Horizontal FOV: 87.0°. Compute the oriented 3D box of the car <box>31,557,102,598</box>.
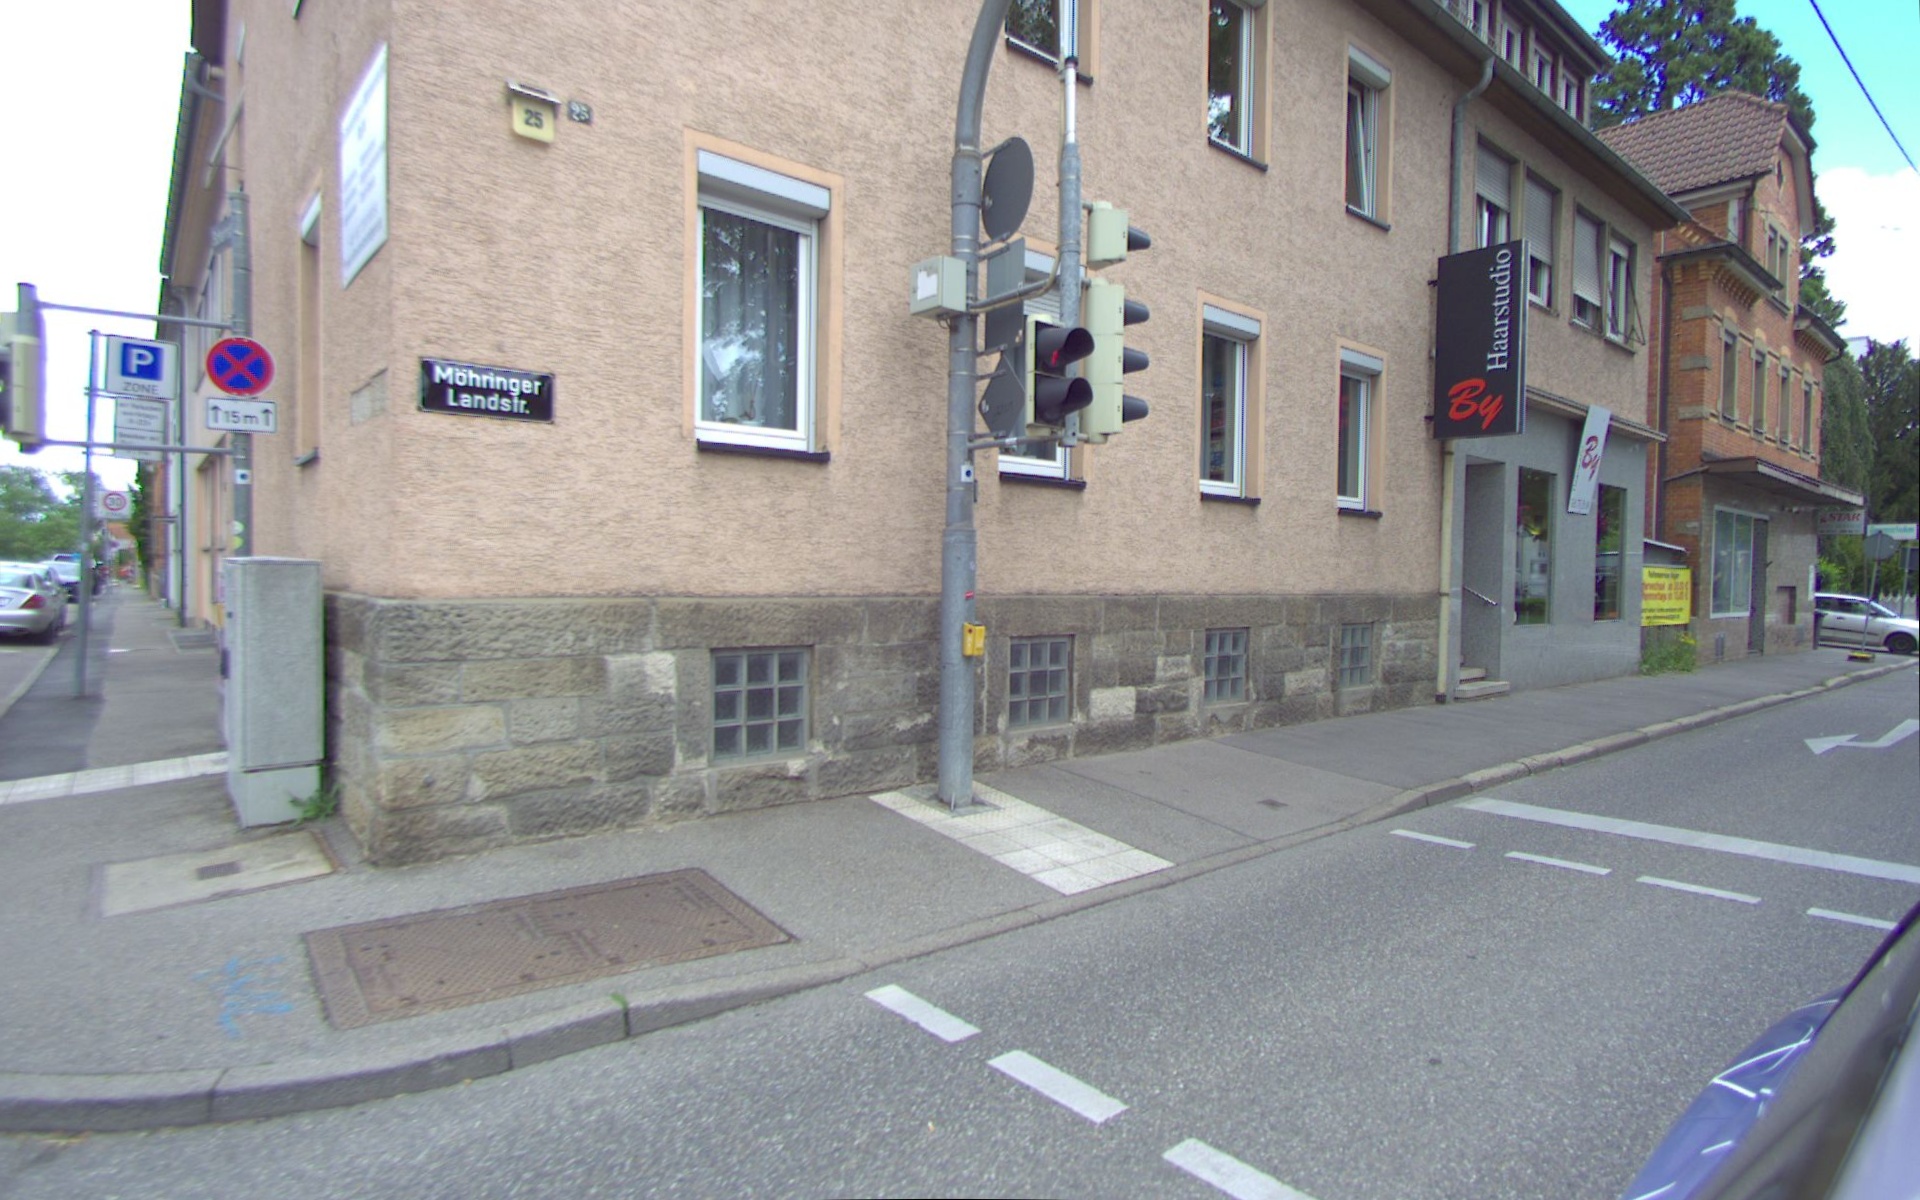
[{"bbox_3d":[-33.602,-0.837,38.145,1.845,1.460,3.995,-1,1,-40],"label":"car"}]

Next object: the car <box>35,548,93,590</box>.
[{"bbox_3d":[-41.930,-1.427,47.432,1.845,1.873,3.996,-1,1,-39],"label":"car"}]

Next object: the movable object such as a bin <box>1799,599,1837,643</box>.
[{"bbox_3d":[22.538,0.541,26.591,0.611,1.114,0.608,0,4,-40],"label":"movable object such as a bin"}]

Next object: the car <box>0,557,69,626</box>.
[{"bbox_3d":[-20.422,-0.198,21.761,1.696,1.386,3.996,-1,1,-39],"label":"car"}]

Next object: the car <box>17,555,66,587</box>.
[{"bbox_3d":[-48.439,-1.512,53.407,1.690,1.659,3.996,-1,1,-39],"label":"car"}]

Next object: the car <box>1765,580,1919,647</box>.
[{"bbox_3d":[25.119,0.356,28.101,1.573,1.487,4.038,-1,6,-41],"label":"car"}]

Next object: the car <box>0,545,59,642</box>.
[{"bbox_3d":[-17.699,-0.130,18.446,1.760,1.639,3.995,-1,1,-40],"label":"car"}]

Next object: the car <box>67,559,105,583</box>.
[{"bbox_3d":[-60.111,-1.964,69.655,1.965,1.616,3.994,-1,1,-40],"label":"car"}]
